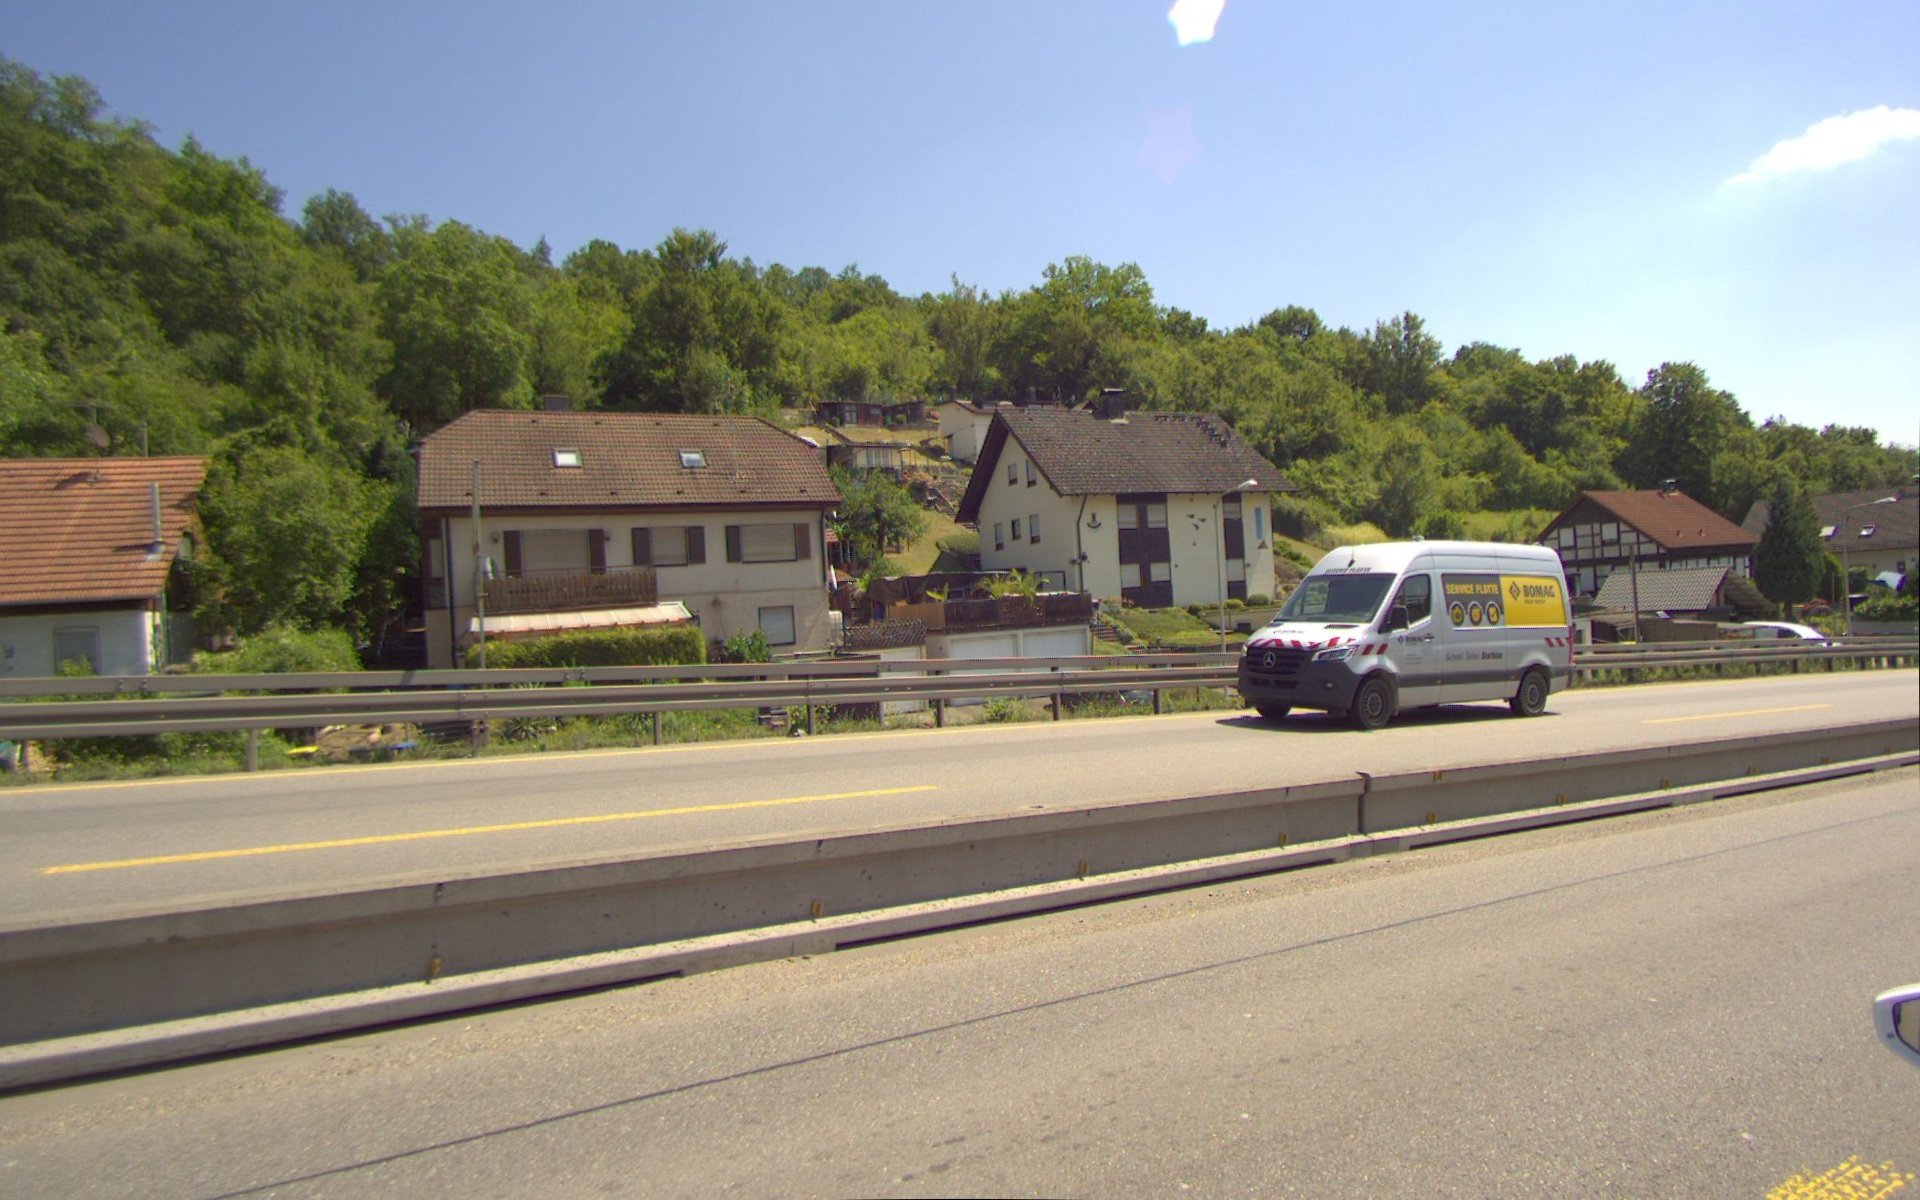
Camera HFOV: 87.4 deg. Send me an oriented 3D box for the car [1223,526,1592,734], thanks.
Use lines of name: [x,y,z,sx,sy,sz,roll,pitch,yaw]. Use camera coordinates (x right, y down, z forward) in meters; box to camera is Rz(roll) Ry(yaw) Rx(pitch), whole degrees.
car: [6.842,0.434,15.100,5.908,2.638,1.996,1,-1,-30]
